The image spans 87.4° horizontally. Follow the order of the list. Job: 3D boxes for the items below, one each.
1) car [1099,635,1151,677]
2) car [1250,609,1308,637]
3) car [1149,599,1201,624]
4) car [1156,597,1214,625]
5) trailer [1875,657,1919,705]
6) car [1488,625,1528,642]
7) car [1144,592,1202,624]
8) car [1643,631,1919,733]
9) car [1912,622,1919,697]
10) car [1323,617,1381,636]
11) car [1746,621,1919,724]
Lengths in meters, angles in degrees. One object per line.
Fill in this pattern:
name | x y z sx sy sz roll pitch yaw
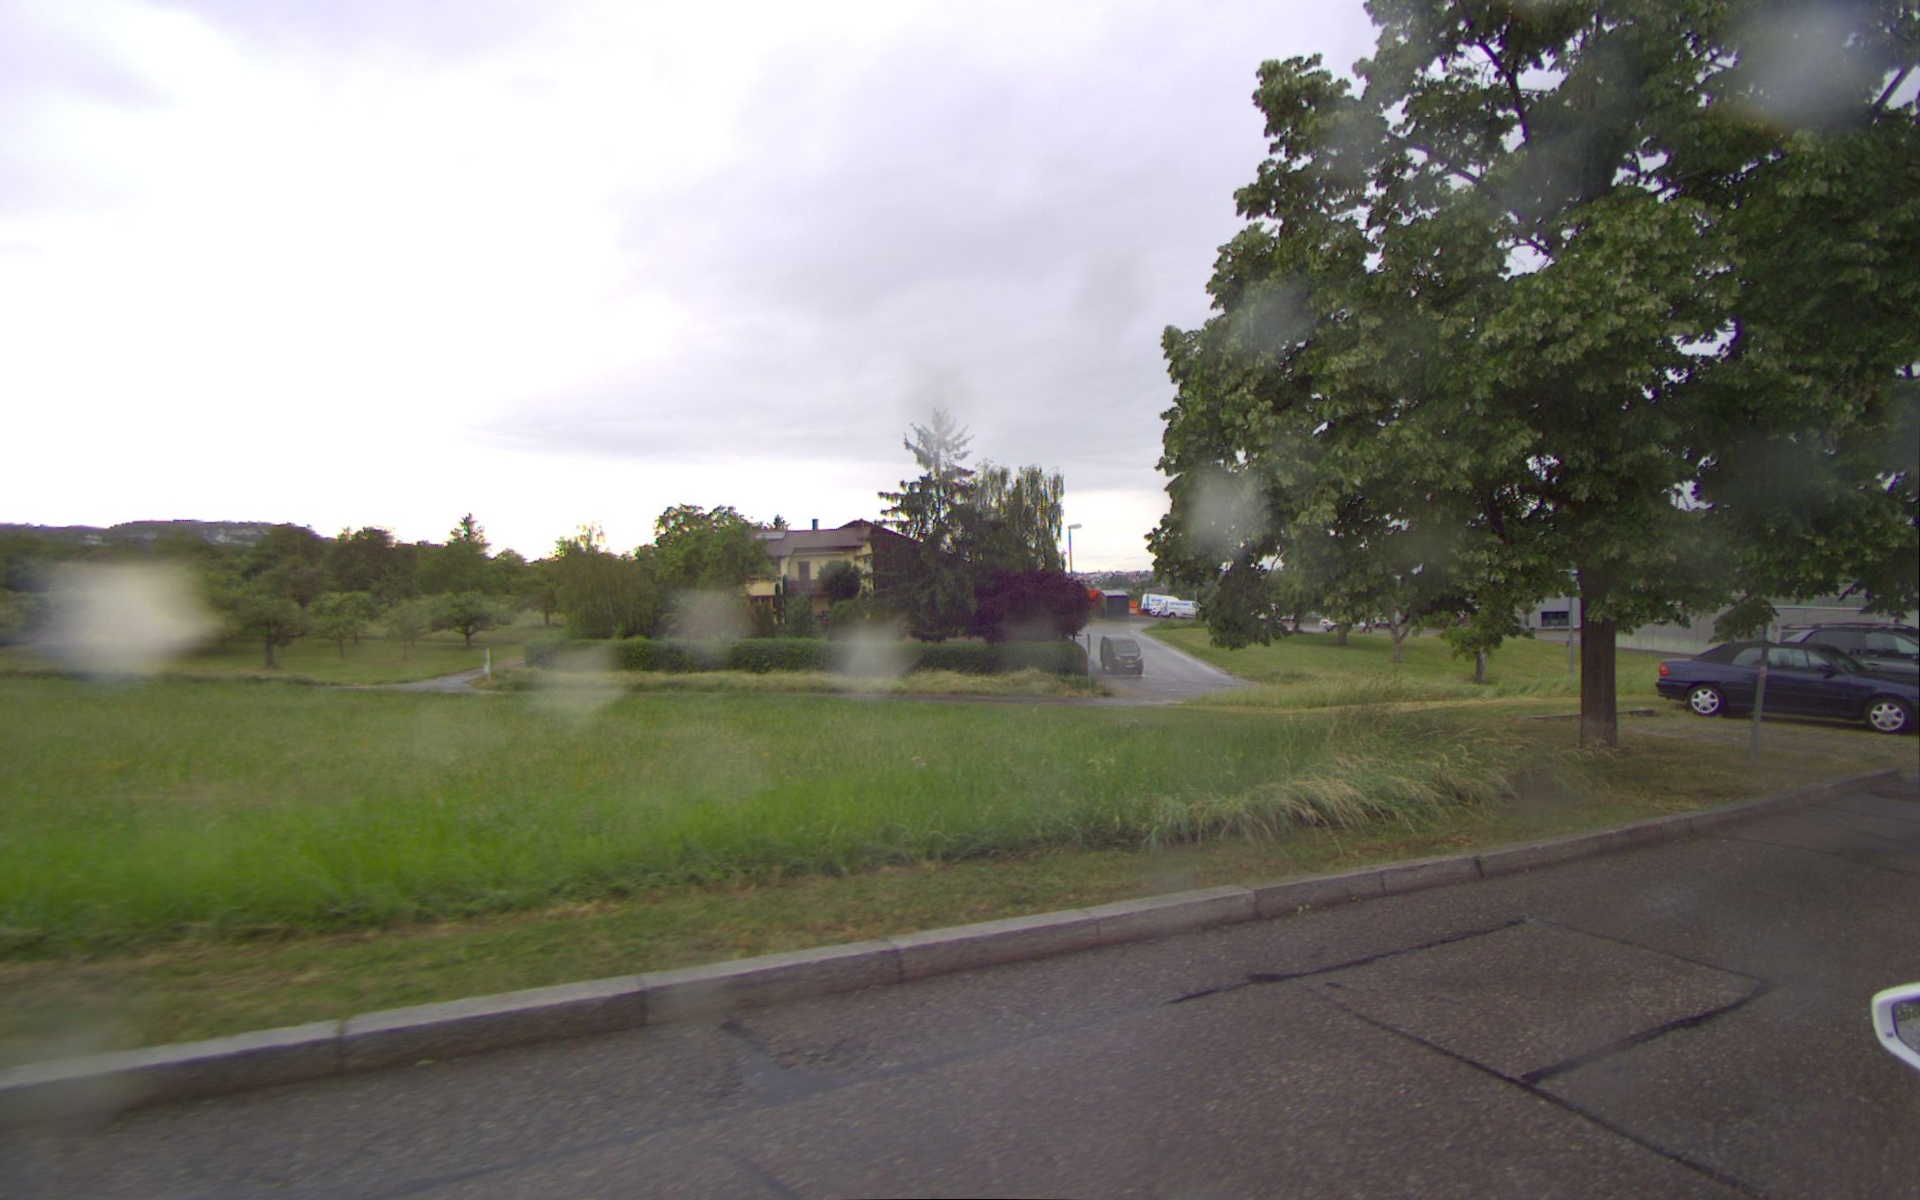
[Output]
car | 9.265 3.145 56.719 1.893 2.249 4.501 1 -3 -4
car | 40.650 2.893 128.200 6.596 3.470 2.546 0 -2 1
car | 24.257 1.338 113.570 5.327 2.603 1.999 2 -1 -4
car | 24.102 1.171 107.724 5.702 2.738 1.998 2 1 -6
trailer | 21.898 1.790 20.819 1.975 0.974 3.925 1 0 -28
car | 55.594 3.379 101.951 1.960 1.639 4.001 1 -1 2
car | 24.624 0.892 116.239 6.176 3.474 2.001 2 -1 1
car | 14.653 1.356 17.501 1.756 1.450 4.186 3 -1 -34
car | 24.166 1.493 22.204 1.998 1.744 4.062 2 1 -25
car | 36.105 2.418 92.590 4.527 1.670 2.292 0 -2 1
car | 17.289 1.308 18.226 2.021 1.744 4.347 3 -2 -30
